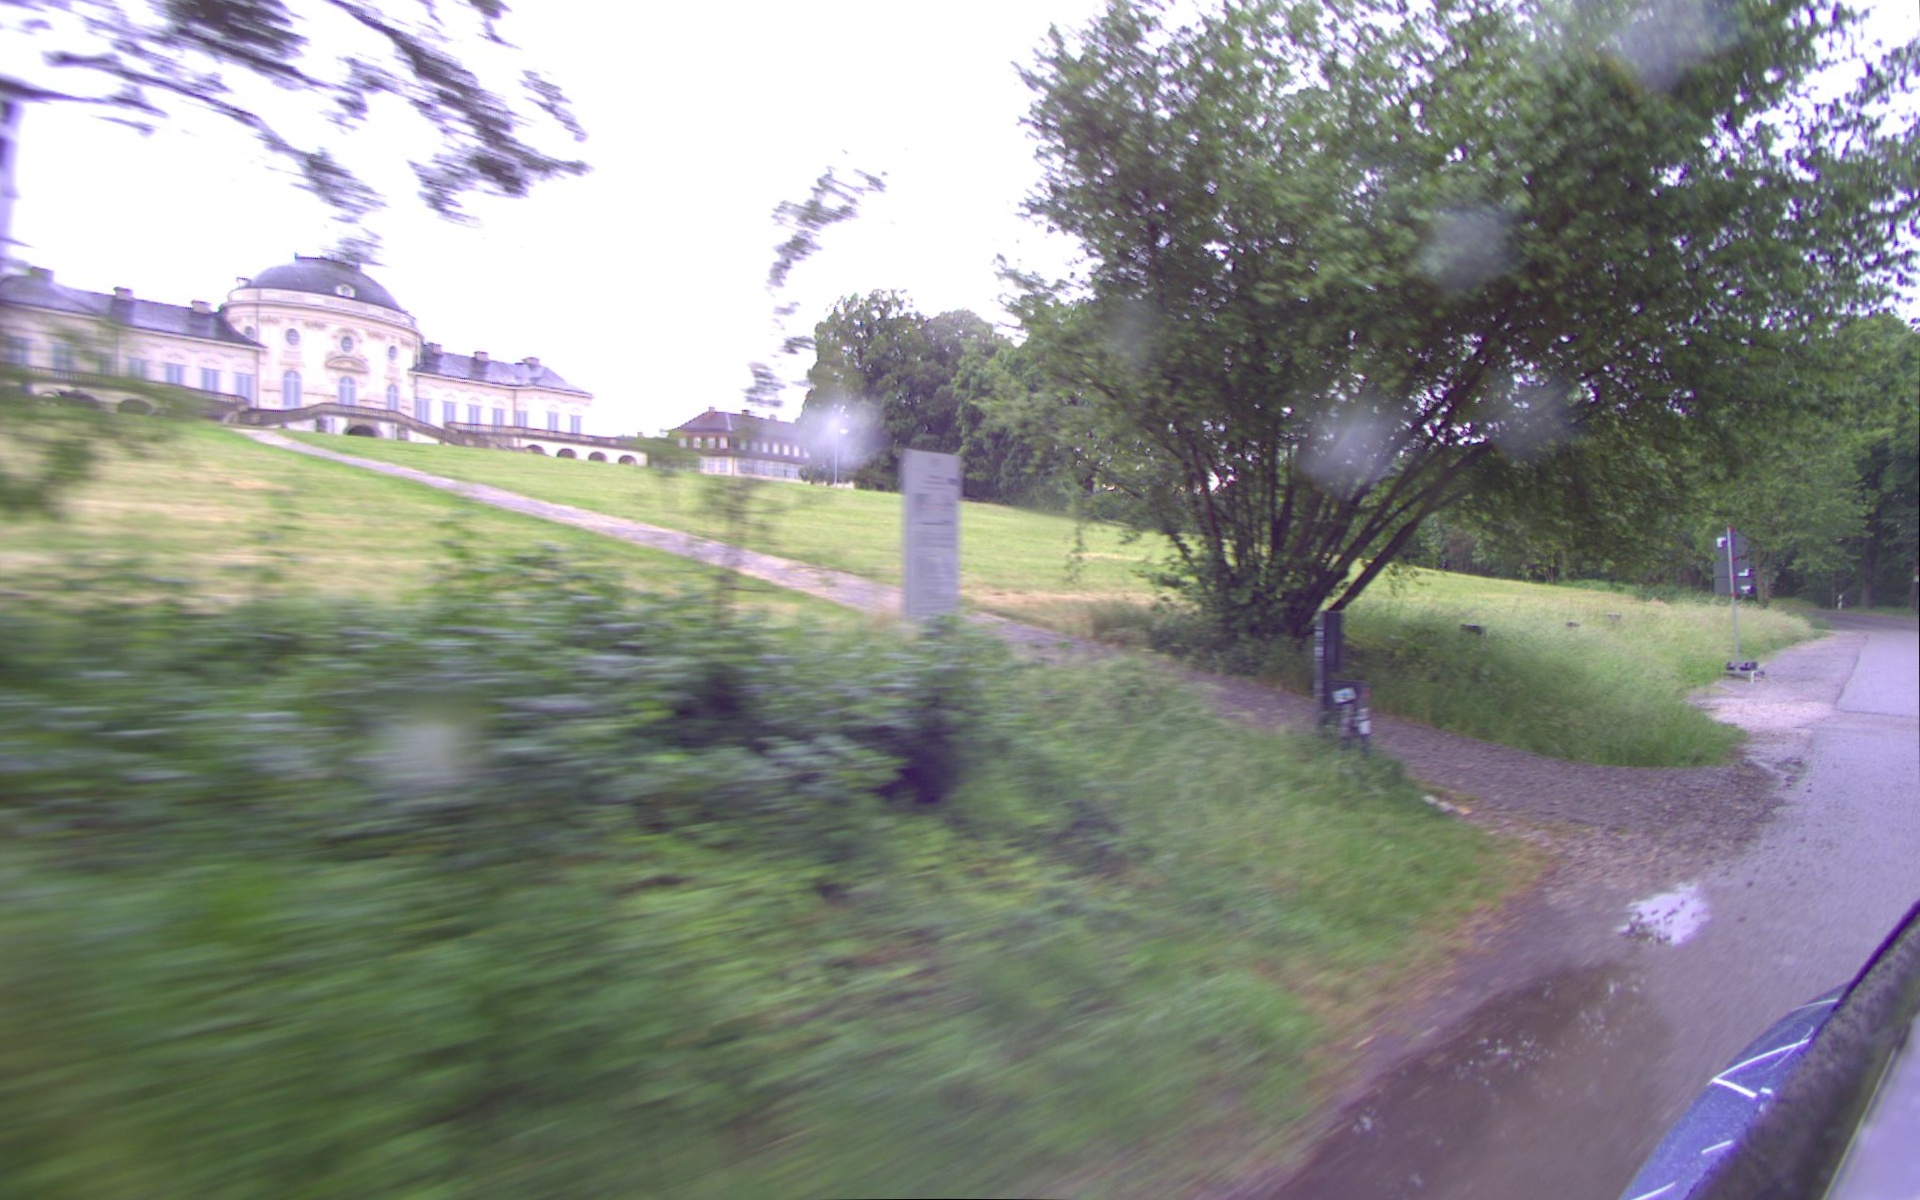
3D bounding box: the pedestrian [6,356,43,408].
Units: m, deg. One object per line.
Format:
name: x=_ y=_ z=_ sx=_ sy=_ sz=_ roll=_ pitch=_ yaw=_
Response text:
pedestrian: x=-36.249 y=-8.454 z=39.238 sx=0.787 sy=1.758 sz=0.930 roll=2 pitch=0 yaw=-28
